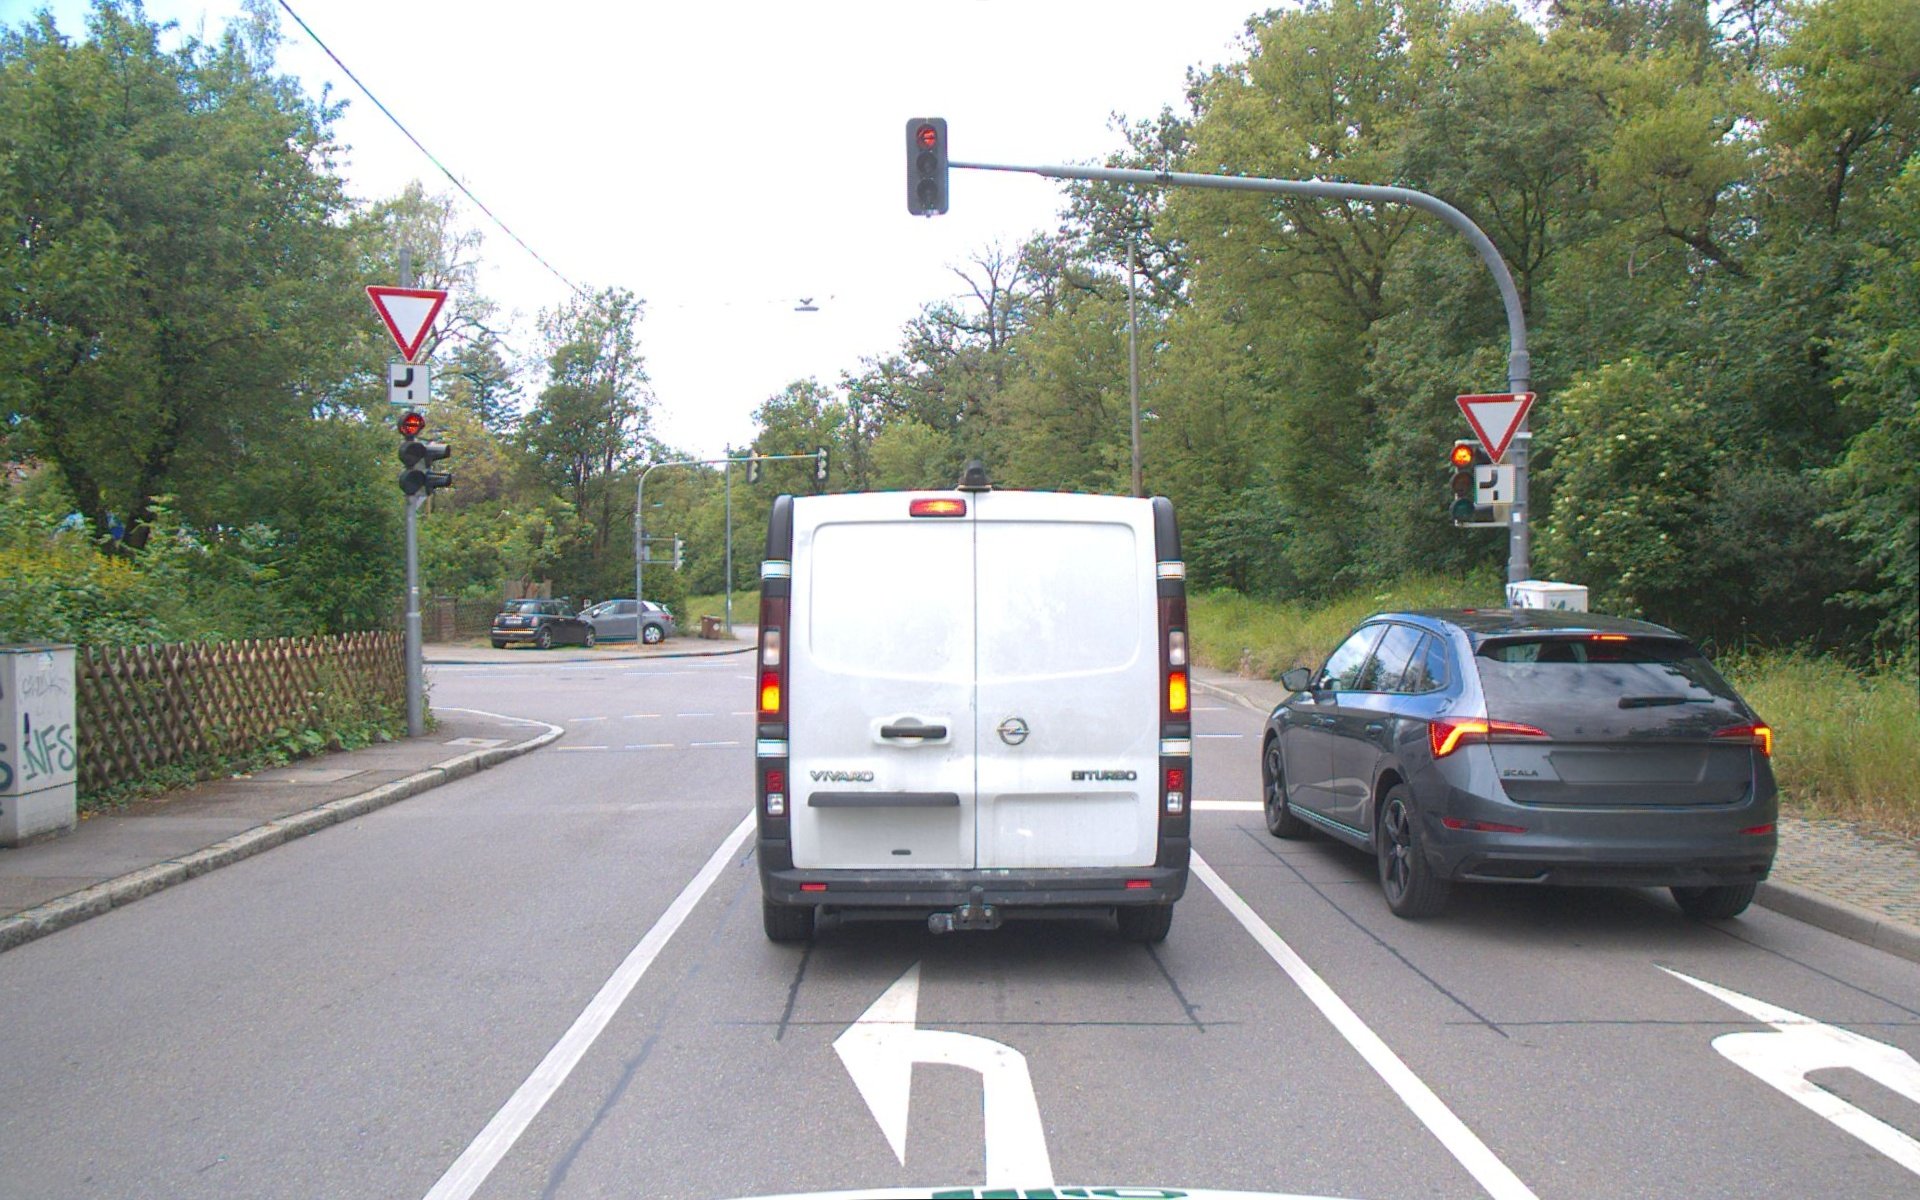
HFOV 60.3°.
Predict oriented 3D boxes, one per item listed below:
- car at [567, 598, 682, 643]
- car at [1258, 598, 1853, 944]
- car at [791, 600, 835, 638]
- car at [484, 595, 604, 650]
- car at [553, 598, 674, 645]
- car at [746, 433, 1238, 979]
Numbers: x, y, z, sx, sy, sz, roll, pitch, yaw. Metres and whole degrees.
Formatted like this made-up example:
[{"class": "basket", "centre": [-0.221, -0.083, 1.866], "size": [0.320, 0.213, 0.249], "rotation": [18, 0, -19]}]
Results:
[{"class": "car", "centre": [-12.437, 0.745, 61.209], "size": [4.022, 1.580, 1.845], "rotation": [0, 1, -18]}, {"class": "car", "centre": [2.945, 0.736, 9.163], "size": [1.756, 1.476, 3.998], "rotation": [0, 0, -2]}, {"class": "car", "centre": [-6.345, 0.792, 71.363], "size": [1.821, 1.533, 3.996], "rotation": [0, 0, -5]}, {"class": "car", "centre": [-11.978, 0.650, 47.845], "size": [1.662, 1.474, 3.544], "rotation": [2, 0, 19]}, {"class": "car", "centre": [-12.192, 0.747, 58.177], "size": [4.022, 1.580, 1.845], "rotation": [0, 1, -18]}, {"class": "car", "centre": [0.019, 0.413, 8.758], "size": [1.878, 2.089, 4.611], "rotation": [1, 0, -3]}]
